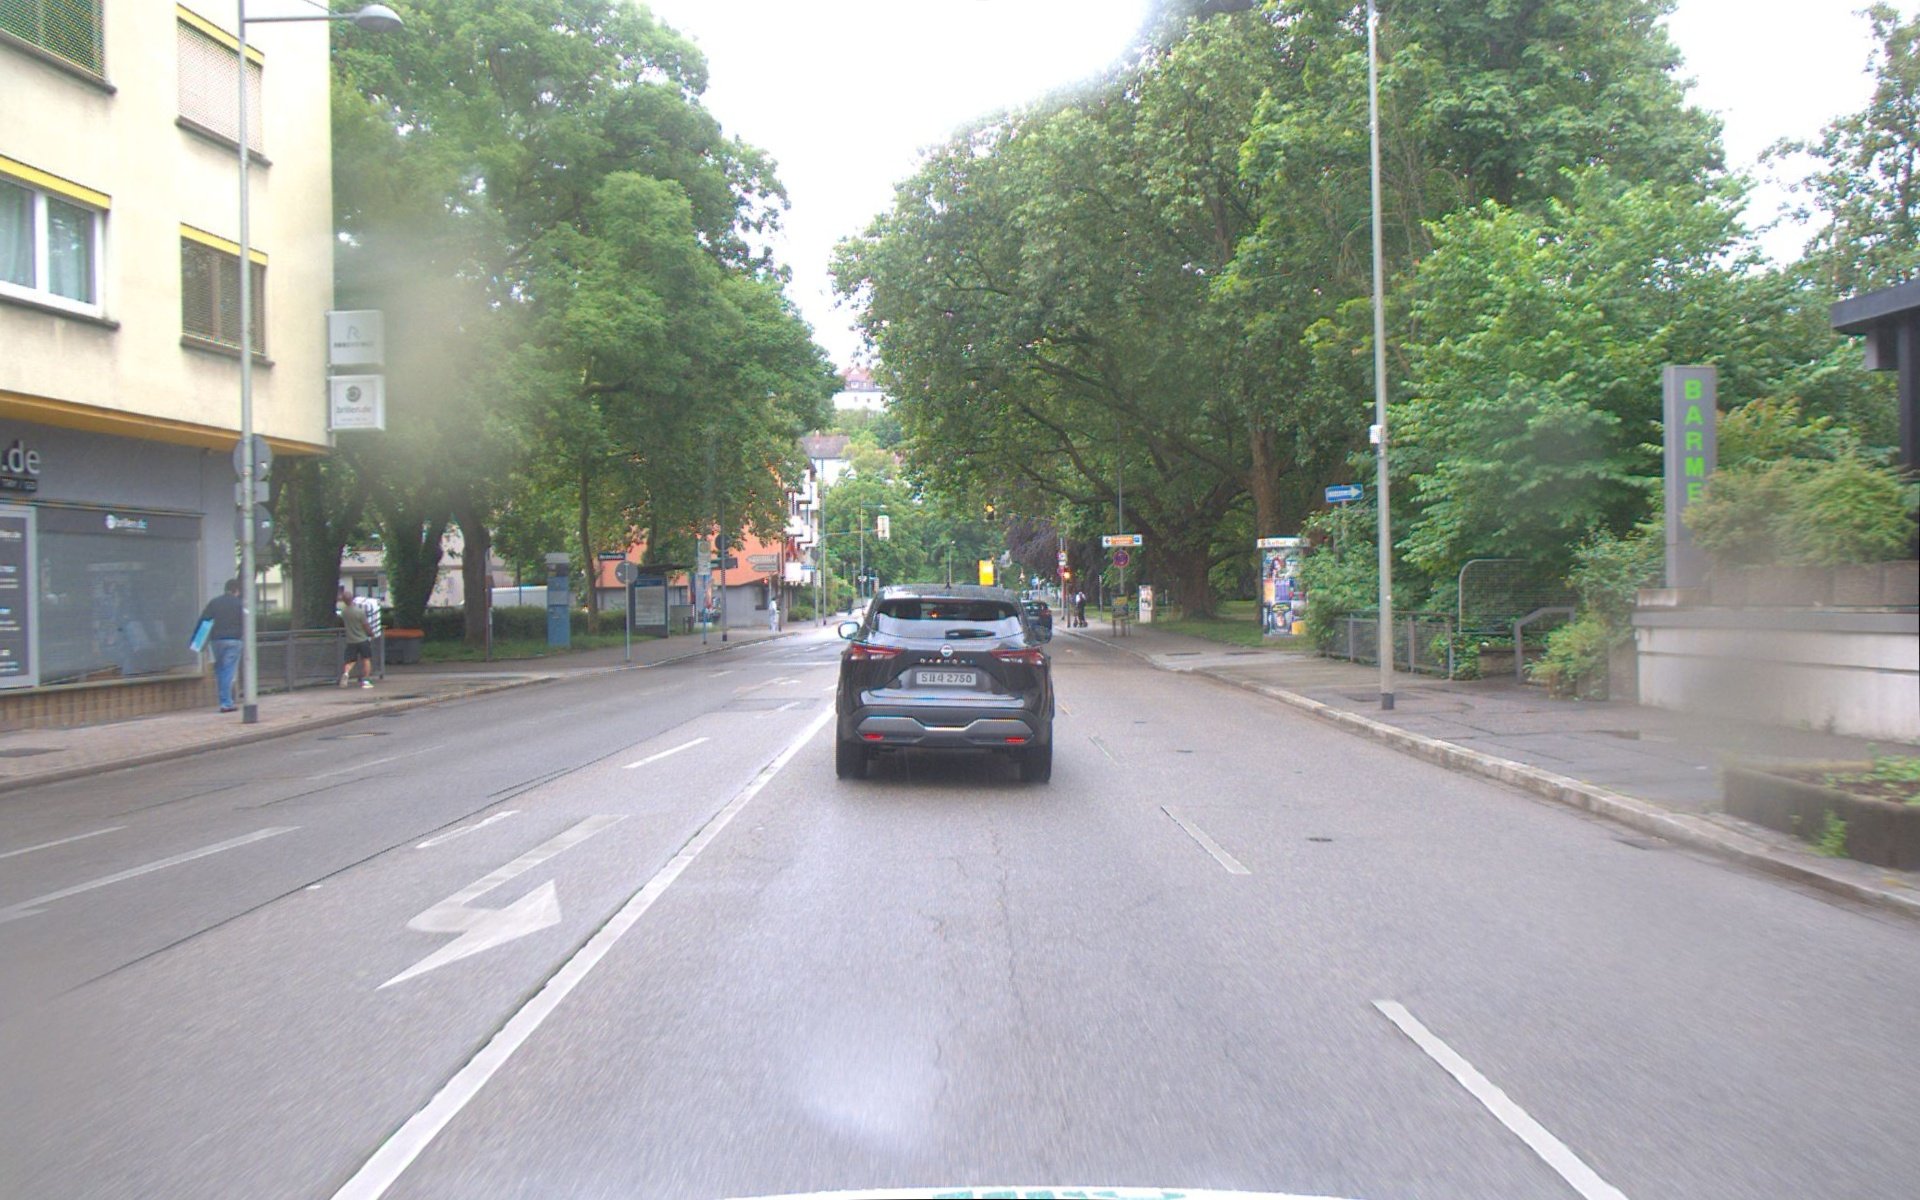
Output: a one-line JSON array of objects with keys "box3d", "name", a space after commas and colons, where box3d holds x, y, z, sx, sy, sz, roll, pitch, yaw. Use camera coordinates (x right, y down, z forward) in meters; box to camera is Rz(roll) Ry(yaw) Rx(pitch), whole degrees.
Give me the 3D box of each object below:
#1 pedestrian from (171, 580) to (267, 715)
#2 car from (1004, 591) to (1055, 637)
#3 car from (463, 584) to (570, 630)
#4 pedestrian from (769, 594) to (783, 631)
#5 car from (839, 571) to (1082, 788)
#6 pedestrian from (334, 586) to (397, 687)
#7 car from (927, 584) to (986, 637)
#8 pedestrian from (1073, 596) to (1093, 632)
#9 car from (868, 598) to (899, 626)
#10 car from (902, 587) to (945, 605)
[{"box3d": [-10.326, 0.651, 23.076, 0.847, 1.819, 0.875, 2, 0, 6], "name": "pedestrian"}, {"box3d": [3.021, 0.620, 72.599, 1.907, 1.848, 3.998, -3, -1, -2], "name": "car"}, {"box3d": [-17.726, 0.256, 66.259, 3.756, 1.764, 1.879, 1, 0, -2], "name": "car"}, {"box3d": [-9.090, 0.618, 81.715, 0.654, 1.822, 0.720, 1, 0, -7], "name": "pedestrian"}, {"box3d": [-0.122, 0.613, 14.795, 1.857, 1.657, 3.997, 1, 0, -4], "name": "car"}, {"box3d": [-10.283, 0.626, 28.638, 0.782, 1.718, 0.817, -1, 0, -1], "name": "pedestrian"}, {"box3d": [-0.082, 0.380, 56.220, 1.905, 1.714, 4.000, 1, -1, 1], "name": "car"}, {"box3d": [6.304, 0.694, 84.763, 0.663, 1.822, 0.710, 1, 0, -42], "name": "pedestrian"}, {"box3d": [-5.202, 0.804, 112.721, 1.783, 1.827, 3.866, 1, 0, 1], "name": "car"}, {"box3d": [-5.111, -0.620, 231.742, 5.957, 2.396, 2.420, 1, 0, -4], "name": "car"}]
